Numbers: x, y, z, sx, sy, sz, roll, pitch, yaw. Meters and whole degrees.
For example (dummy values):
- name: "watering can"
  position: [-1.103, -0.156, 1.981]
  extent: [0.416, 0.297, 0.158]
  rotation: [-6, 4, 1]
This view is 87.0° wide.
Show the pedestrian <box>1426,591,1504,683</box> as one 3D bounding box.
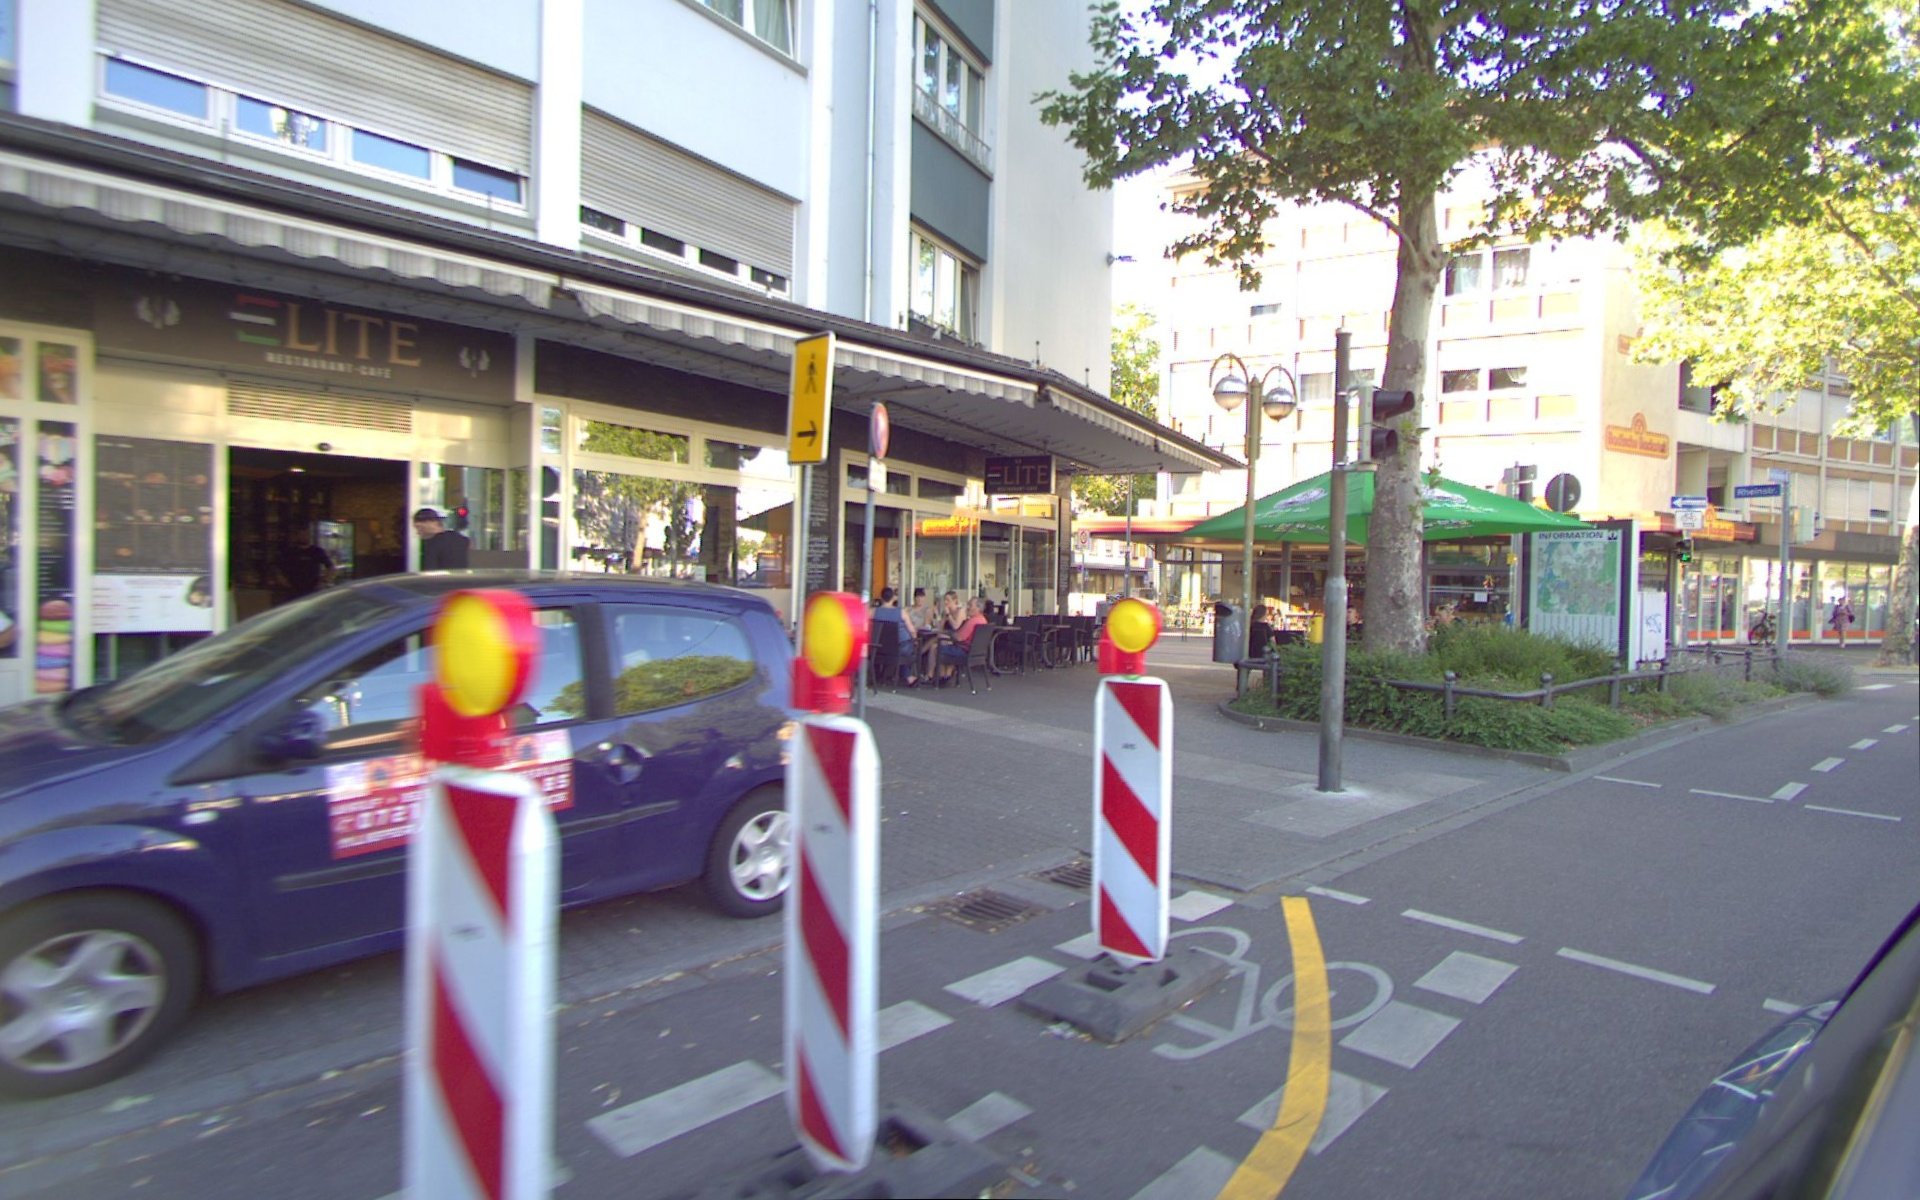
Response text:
- name: "pedestrian"
  position: [7.482, 0.533, 15.008]
  extent: [0.753, 1.301, 0.720]
  rotation: [1, 1, -29]

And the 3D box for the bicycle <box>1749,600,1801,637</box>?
- name: "bicycle"
  position: [26.059, 0.580, 32.353]
  extent: [1.934, 1.157, 0.530]
  rotation: [1, 1, -27]

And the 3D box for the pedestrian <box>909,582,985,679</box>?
- name: "pedestrian"
  position: [-0.175, 0.401, 13.574]
  extent: [0.664, 1.233, 0.706]
  rotation: [3, 1, 42]

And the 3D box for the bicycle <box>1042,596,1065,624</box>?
- name: "bicycle"
  position: [3.527, 0.372, 37.912]
  extent: [0.384, 1.013, 1.417]
  rotation: [1, 1, 25]

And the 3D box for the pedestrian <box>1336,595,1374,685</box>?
- name: "pedestrian"
  position: [5.662, 0.557, 14.530]
  extent: [0.427, 1.234, 0.465]
  rotation: [3, 2, 19]

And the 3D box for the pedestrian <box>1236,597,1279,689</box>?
- name: "pedestrian"
  position: [4.050, 0.575, 13.780]
  extent: [0.459, 1.235, 0.432]
  rotation: [1, 0, 4]

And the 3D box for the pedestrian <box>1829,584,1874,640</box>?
- name: "pedestrian"
  position: [28.519, 0.376, 32.368]
  extent: [0.883, 1.779, 0.751]
  rotation: [1, 1, -25]

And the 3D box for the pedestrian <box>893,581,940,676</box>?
- name: "pedestrian"
  position: [-0.601, 0.377, 13.928]
  extent: [0.541, 1.259, 0.521]
  rotation: [3, 1, -8]

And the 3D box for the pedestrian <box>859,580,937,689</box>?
- name: "pedestrian"
  position: [-0.751, 0.407, 12.399]
  extent: [0.643, 1.267, 0.712]
  rotation: [3, 1, 24]

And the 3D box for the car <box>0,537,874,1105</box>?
- name: "car"
  position: [-2.253, 0.560, 4.116]
  extent: [3.546, 1.484, 1.621]
  rotation: [0, 3, -45]

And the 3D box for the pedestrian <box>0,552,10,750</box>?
- name: "pedestrian"
  position: [-6.467, 0.342, 6.262]
  extent: [0.765, 1.247, 1.206]
  rotation: [0, 4, -39]

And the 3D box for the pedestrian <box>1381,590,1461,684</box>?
- name: "pedestrian"
  position: [6.639, 0.516, 14.591]
  extent: [0.753, 1.301, 0.721]
  rotation: [1, 1, -28]

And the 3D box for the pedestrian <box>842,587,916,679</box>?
- name: "pedestrian"
  position: [-1.054, 0.417, 13.298]
  extent: [0.710, 1.144, 0.645]
  rotation: [3, 1, 24]

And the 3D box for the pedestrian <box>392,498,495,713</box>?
- name: "pedestrian"
  position: [-4.426, 0.034, 8.667]
  extent: [0.579, 1.756, 0.596]
  rotation: [2, 2, -44]

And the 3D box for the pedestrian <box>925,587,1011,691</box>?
- name: "pedestrian"
  position: [0.108, 0.466, 12.688]
  extent: [0.838, 1.213, 0.644]
  rotation: [3, 1, 26]
